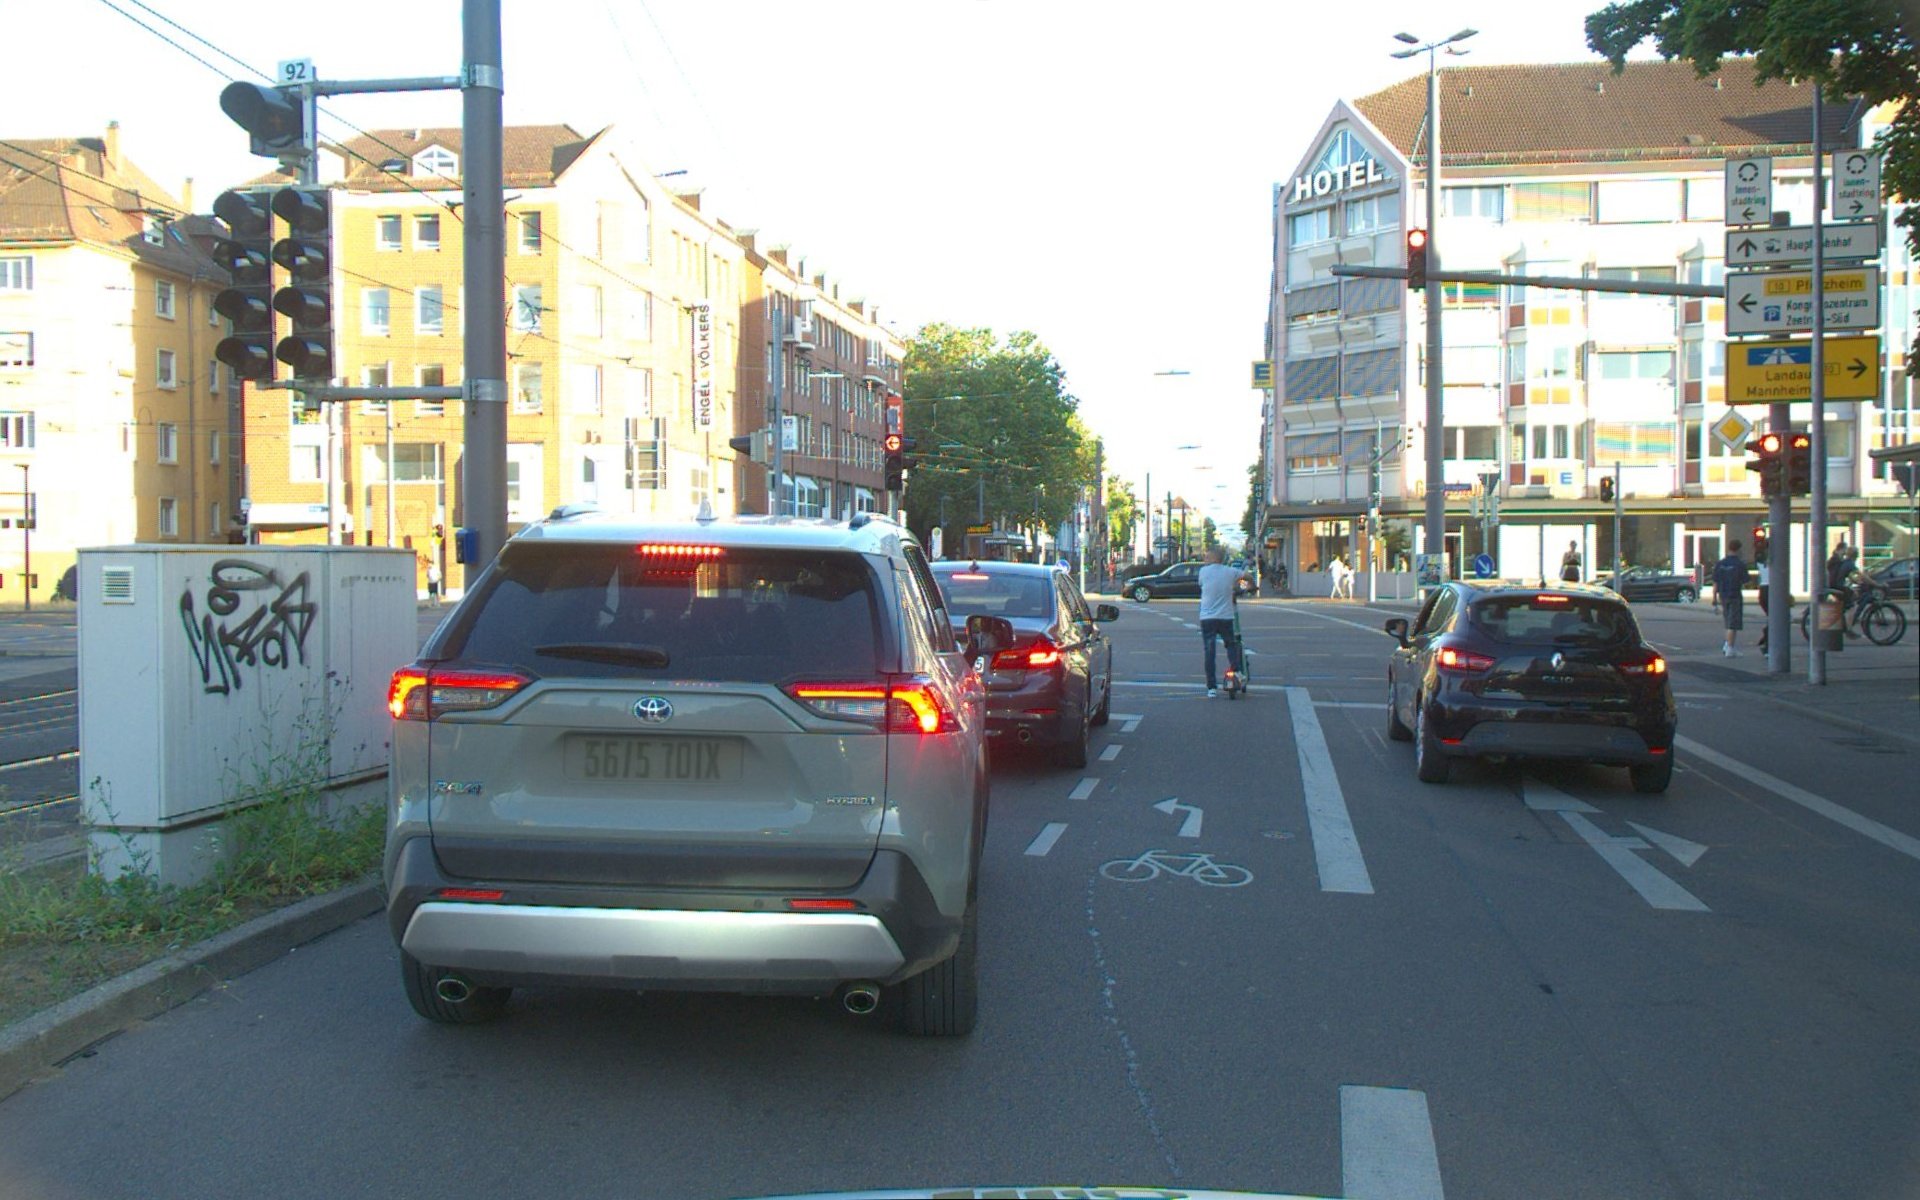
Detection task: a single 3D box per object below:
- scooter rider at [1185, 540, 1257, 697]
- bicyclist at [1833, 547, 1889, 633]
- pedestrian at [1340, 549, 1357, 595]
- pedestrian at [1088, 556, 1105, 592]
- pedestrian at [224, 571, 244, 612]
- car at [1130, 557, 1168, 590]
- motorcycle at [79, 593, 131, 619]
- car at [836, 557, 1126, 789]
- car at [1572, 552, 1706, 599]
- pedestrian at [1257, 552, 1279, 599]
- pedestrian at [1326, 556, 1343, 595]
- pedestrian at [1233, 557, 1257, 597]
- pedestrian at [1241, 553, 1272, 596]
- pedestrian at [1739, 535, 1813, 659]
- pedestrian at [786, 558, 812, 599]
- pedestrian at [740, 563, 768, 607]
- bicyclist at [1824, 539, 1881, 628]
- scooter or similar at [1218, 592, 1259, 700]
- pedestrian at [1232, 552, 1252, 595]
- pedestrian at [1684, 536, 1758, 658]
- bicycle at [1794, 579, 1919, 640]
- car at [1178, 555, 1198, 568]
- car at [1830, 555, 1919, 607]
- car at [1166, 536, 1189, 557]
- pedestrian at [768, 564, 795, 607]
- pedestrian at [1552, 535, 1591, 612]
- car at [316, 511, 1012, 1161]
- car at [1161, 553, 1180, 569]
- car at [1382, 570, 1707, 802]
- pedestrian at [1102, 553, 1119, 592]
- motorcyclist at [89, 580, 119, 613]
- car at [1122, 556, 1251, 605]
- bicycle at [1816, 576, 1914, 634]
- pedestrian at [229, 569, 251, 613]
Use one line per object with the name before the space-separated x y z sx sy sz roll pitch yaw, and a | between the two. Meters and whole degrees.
scooter rider | 2.878 0.195 18.196 0.648 1.675 0.661 2 1 18
bicyclist | 16.520 -0.186 30.319 0.689 1.537 0.550 -2 1 2
pedestrian | 15.505 -1.117 66.015 0.487 1.805 0.471 -1 1 -28
pedestrian | 6.547 -1.249 79.312 0.686 1.693 0.809 1 1 11
pedestrian | -30.068 -0.358 68.483 0.539 1.671 0.501 1 1 8
car | 10.684 -1.493 93.264 1.773 1.777 3.718 2 1 11
motorcycle | -32.475 0.211 62.842 1.795 0.924 0.432 2 1 5
car | 0.347 0.426 13.292 1.708 1.486 4.414 2 2 9
car | 23.502 -0.863 57.354 3.902 1.502 2.002 2 1 8
pedestrian | 15.885 -1.265 85.321 1.061 2.406 1.057 1 1 11
pedestrian | 14.942 -0.981 65.939 0.487 1.529 0.471 -1 1 -28
pedestrian | 12.082 -0.976 70.137 0.712 1.651 0.765 -1 1 -28
pedestrian | 12.418 -1.084 69.354 0.922 1.756 0.843 1 1 -31
pedestrian | 12.485 -0.054 25.309 0.716 1.862 0.991 2 1 43
pedestrian | -8.158 -1.103 83.827 1.070 2.048 1.164 1 1 8
pedestrian | -9.837 -0.733 78.913 1.070 2.048 0.909 1 1 8
bicyclist | 15.865 -0.290 29.407 0.689 1.537 0.550 -2 1 4
scooter or similar | 3.044 0.482 18.026 0.273 1.109 1.258 2 1 16
pedestrian | 14.798 -1.376 86.805 0.912 2.234 0.853 1 1 7
pedestrian | 11.916 -0.060 25.889 0.716 1.862 0.991 2 1 44
bicycle | 15.939 0.170 29.383 1.993 1.046 0.417 1 1 5
car | 23.426 -3.988 170.008 1.951 1.333 4.004 0 1 8
car | 32.271 -0.646 56.427 4.144 1.725 2.002 1 1 8
car | 20.947 -5.107 159.051 1.951 1.933 4.004 2 1 11
pedestrian | -8.664 -0.702 80.473 1.070 2.048 0.909 1 1 8
pedestrian | 14.673 -0.642 39.723 0.730 1.809 0.801 2 1 12
car | -0.737 0.541 6.348 1.797 1.664 4.092 1 2 1
car | 25.910 -4.838 203.319 1.951 1.892 4.004 0 1 12
car | 4.345 0.523 12.887 1.726 1.465 4.004 1 1 10
pedestrian | 7.196 -1.307 79.033 0.686 1.854 0.809 1 1 11
motorcyclist | -32.524 -0.145 62.837 0.689 1.241 0.789 1 1 4
car | 8.039 -0.720 58.809 4.455 1.648 2.000 1 1 7
bicycle | 16.591 0.093 30.330 1.577 1.046 0.354 0 1 3
pedestrian | -28.949 -0.362 66.501 0.661 1.773 0.681 1 0 -38
